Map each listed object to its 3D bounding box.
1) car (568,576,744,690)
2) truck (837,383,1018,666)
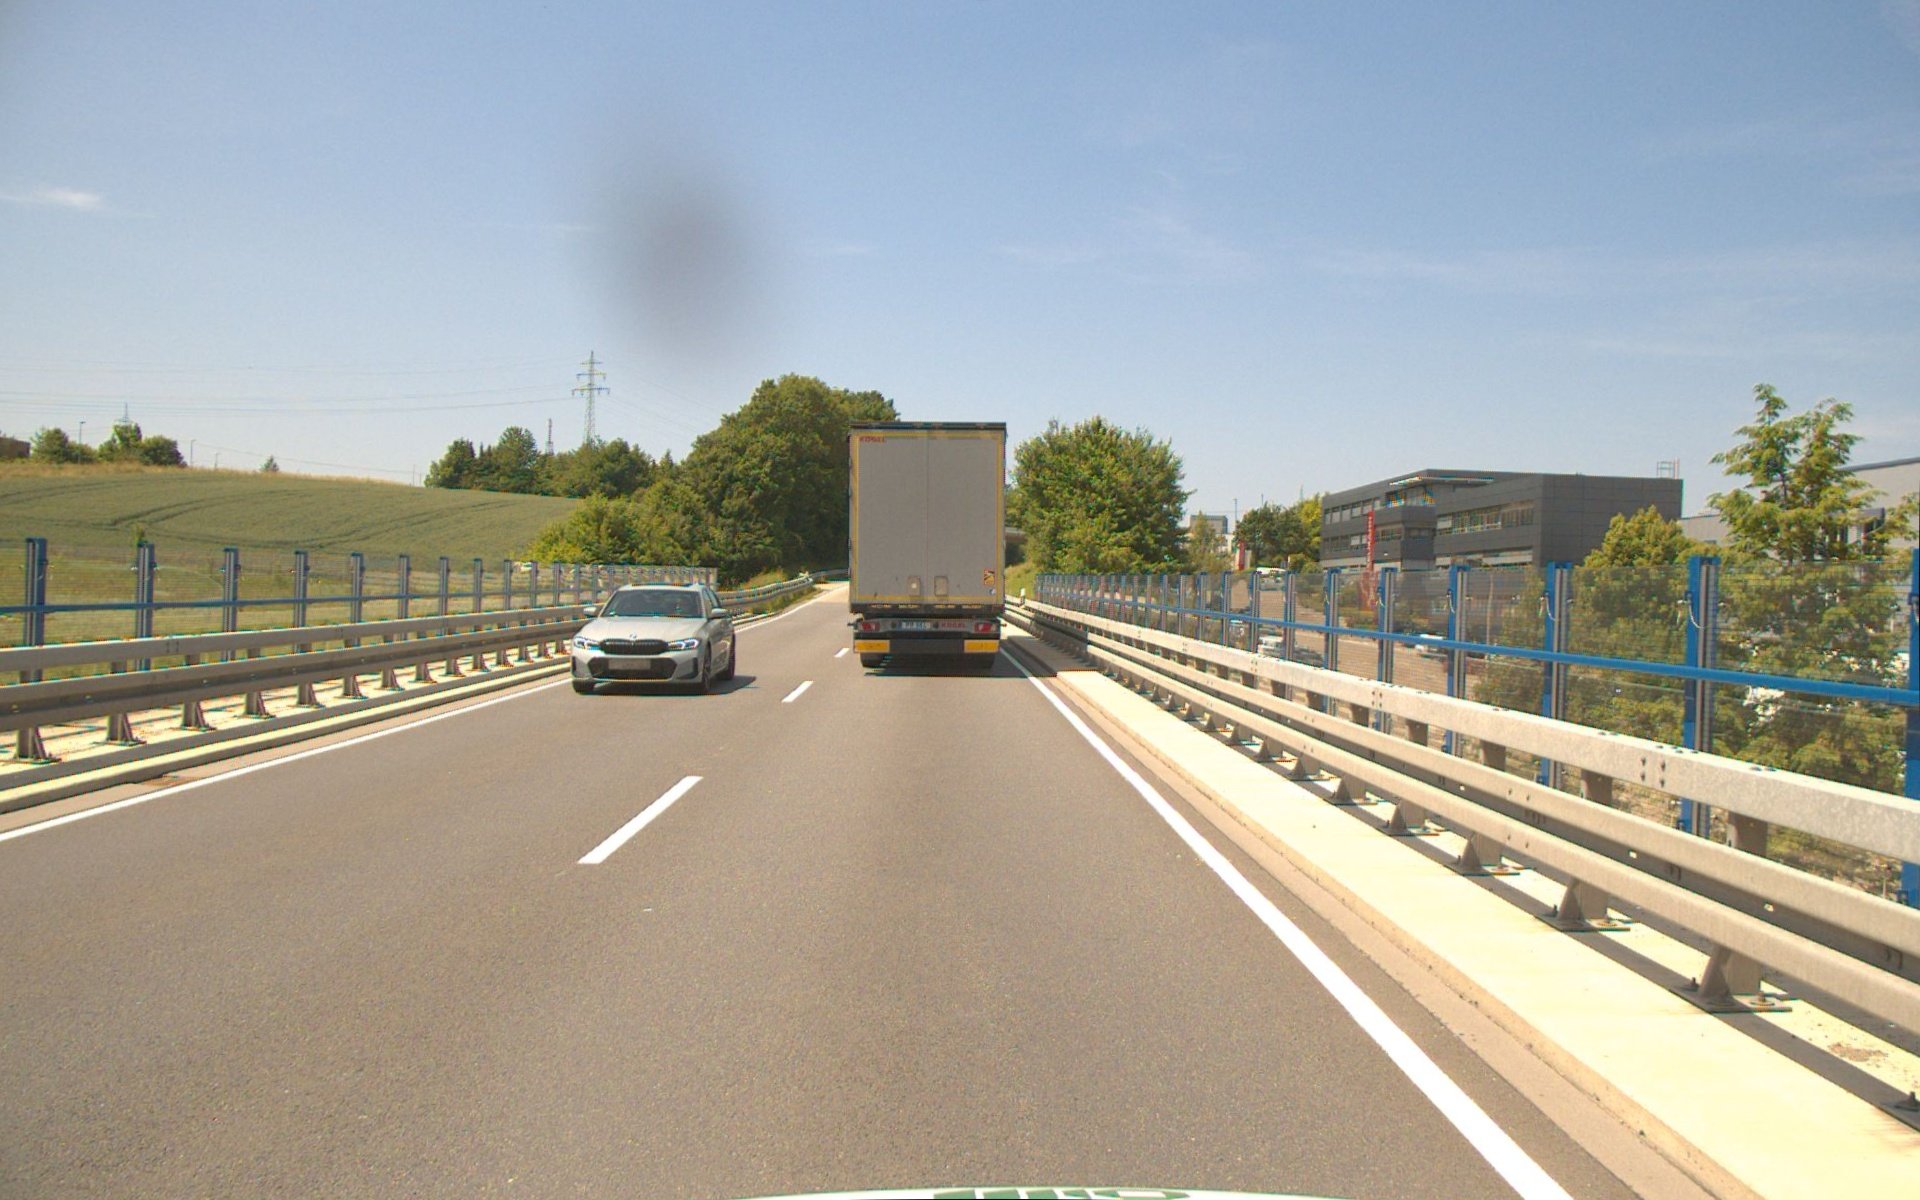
[{"bbox_3d":[-4.202,0.398,23.574,1.745,1.461,4.833,0,1,-2],"label":"car"},{"bbox_3d":[-0.657,-1.148,30.817,2.808,4.436,9.784,0,-1,-2],"label":"truck"}]
